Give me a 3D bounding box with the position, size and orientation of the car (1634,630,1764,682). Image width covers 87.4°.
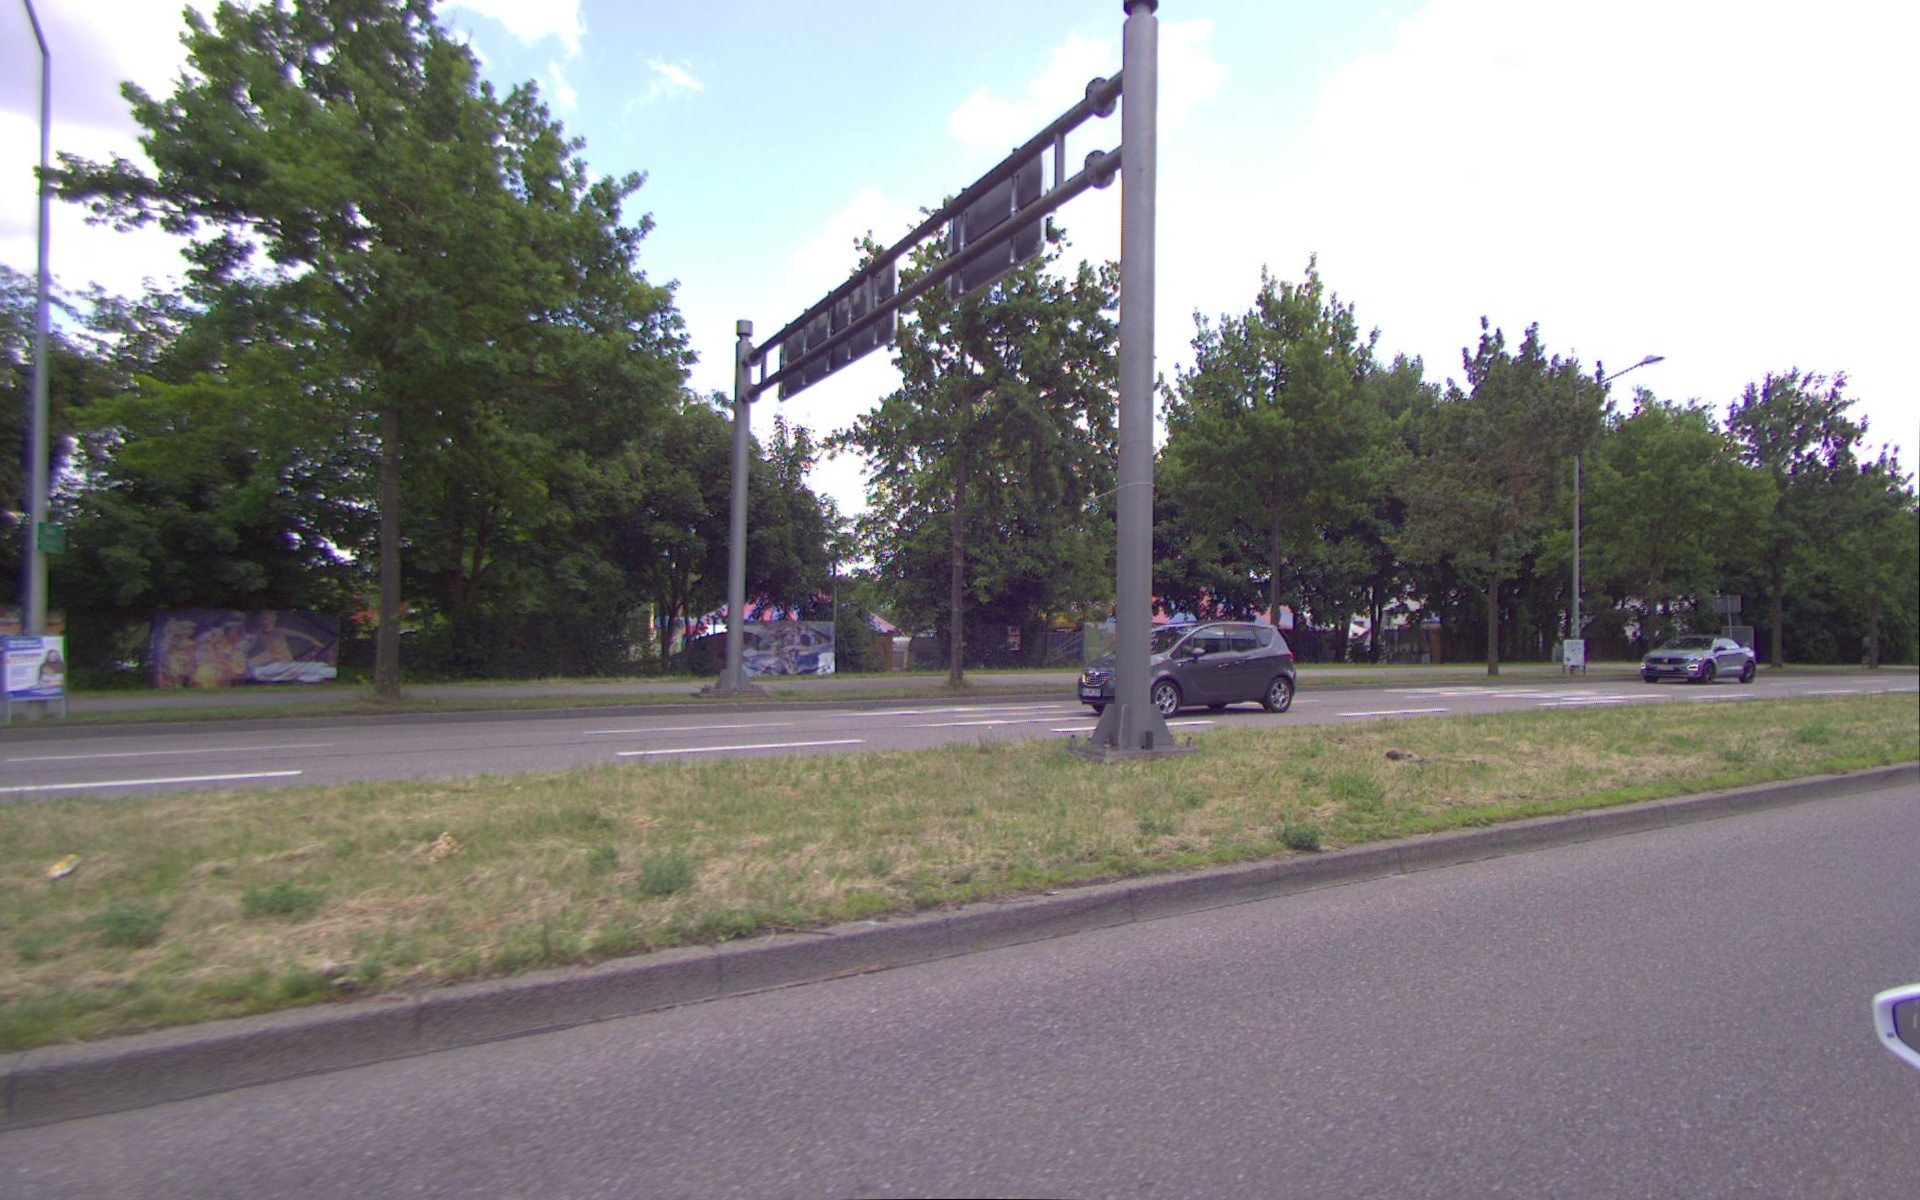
[{"bbox_3d":[23.800,1.782,32.324,4.520,1.566,1.733,2,-3,-31],"label":"car"}]

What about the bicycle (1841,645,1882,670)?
[{"bbox_3d":[46.716,2.974,52.041,2.472,1.243,0.804,1,-2,-29],"label":"bicycle"}]

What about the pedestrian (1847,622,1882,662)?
[{"bbox_3d":[46.795,2.171,51.951,1.234,2.040,0.966,1,0,-29],"label":"pedestrian"}]

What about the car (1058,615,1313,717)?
[{"bbox_3d":[3.932,1.109,17.397,4.222,1.589,1.735,1,-3,-28],"label":"car"}]
